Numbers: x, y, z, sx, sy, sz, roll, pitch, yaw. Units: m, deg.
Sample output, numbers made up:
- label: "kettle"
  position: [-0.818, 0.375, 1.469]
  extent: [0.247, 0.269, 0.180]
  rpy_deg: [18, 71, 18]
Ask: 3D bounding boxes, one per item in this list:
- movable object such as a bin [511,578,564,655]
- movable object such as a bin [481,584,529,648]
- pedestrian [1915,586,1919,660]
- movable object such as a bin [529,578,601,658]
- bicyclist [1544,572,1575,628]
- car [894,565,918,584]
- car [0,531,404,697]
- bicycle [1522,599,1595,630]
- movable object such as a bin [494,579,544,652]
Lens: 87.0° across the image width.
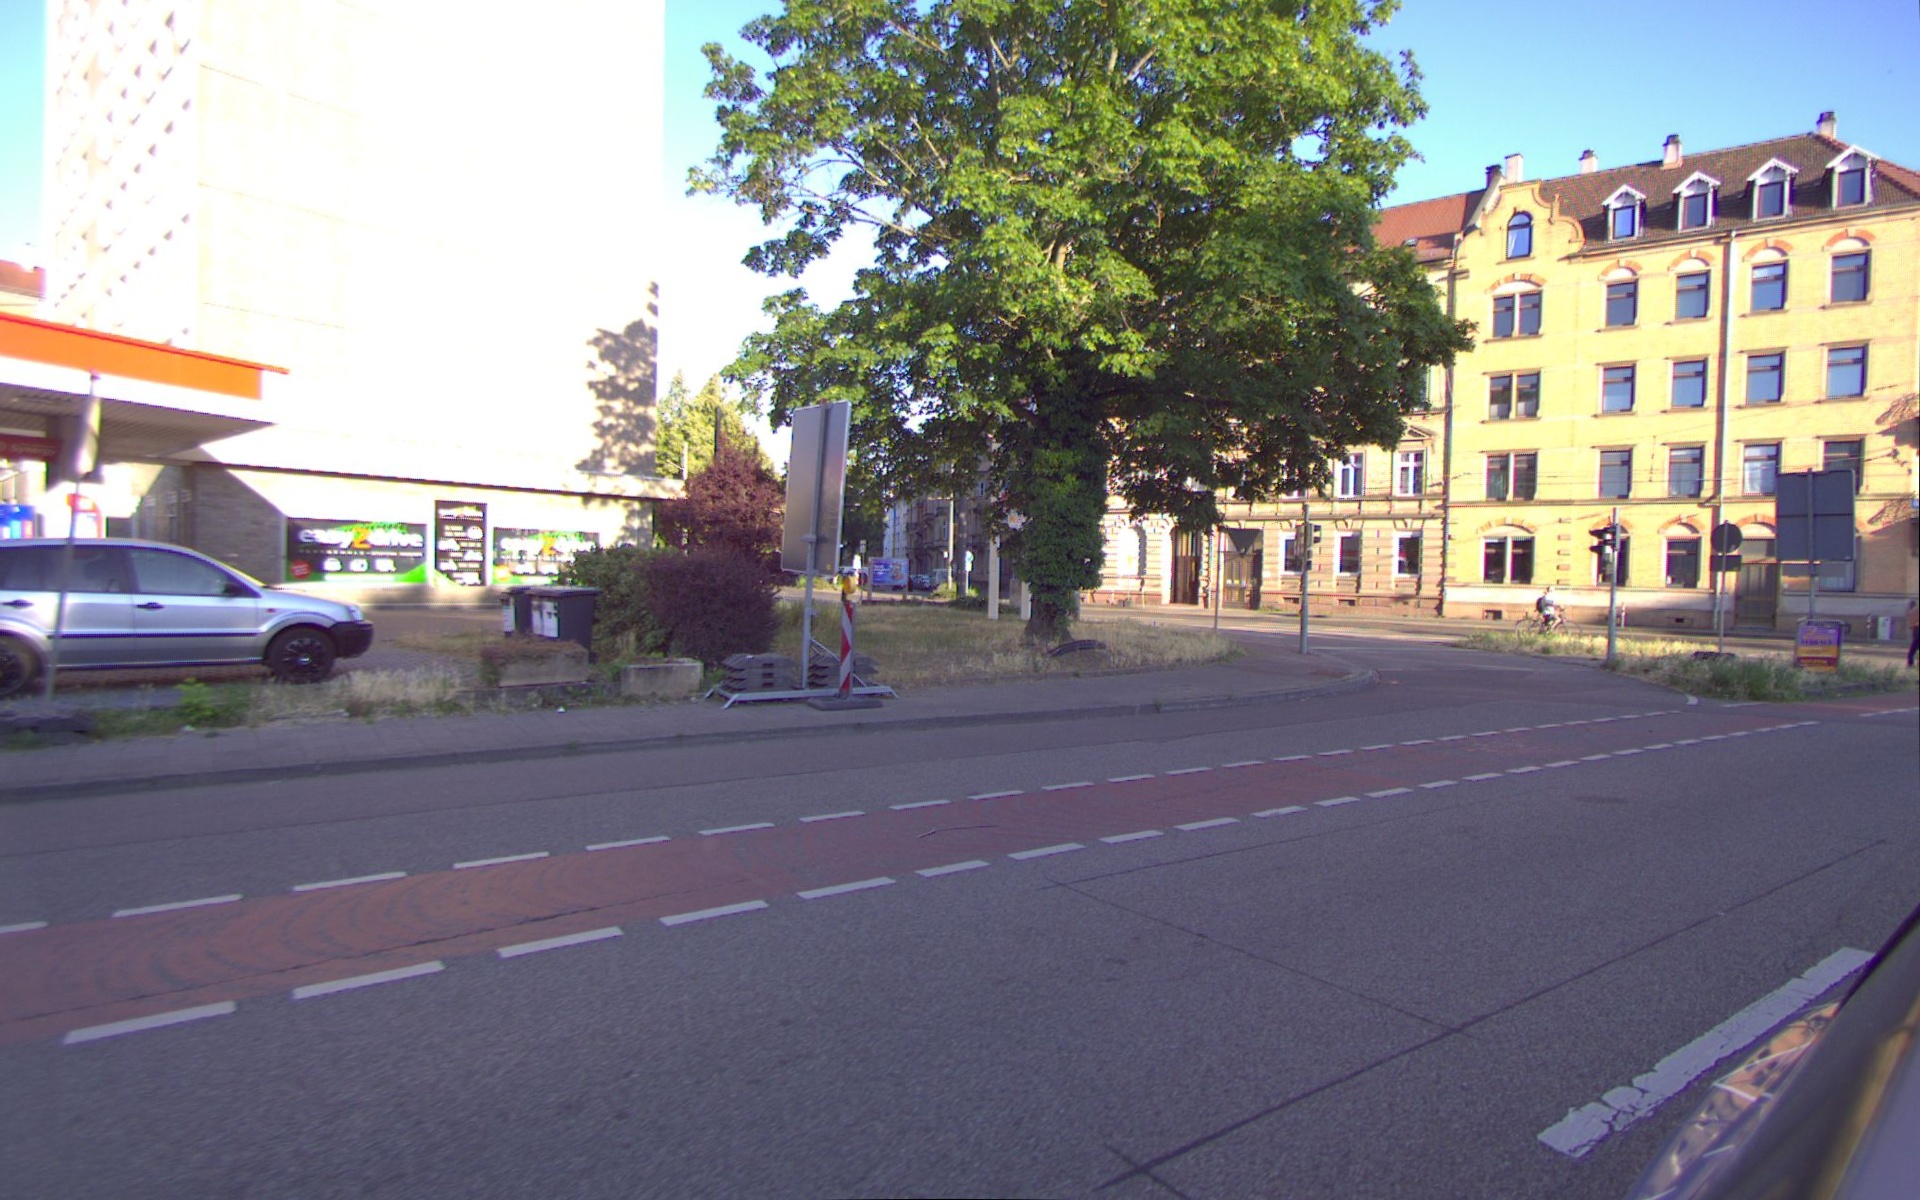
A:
- label: "movable object such as a bin"
  position: [-5.788, 0.215, 13.861]
  extent: [0.540, 1.018, 0.541]
  rpy_deg: [0, 0, -38]
- label: "movable object such as a bin"
  position: [-6.688, 0.228, 14.879]
  extent: [0.540, 0.917, 0.541]
  rpy_deg: [0, 0, -38]
- label: "pedestrian"
  position: [22.060, 0.527, 22.857]
  extent: [0.686, 1.649, 0.554]
  rpy_deg: [0, 1, -35]
- label: "movable object such as a bin"
  position: [-5.199, 0.222, 13.322]
  extent: [0.706, 1.018, 0.654]
  rpy_deg: [0, 0, -42]
- label: "bicyclist"
  position: [17.706, -0.009, 29.905]
  extent: [0.692, 1.603, 0.629]
  rpy_deg: [2, 2, 37]
- label: "car"
  position: [-4.828, -2.322, 91.350]
  extent: [1.790, 1.638, 3.999]
  rpy_deg: [1, 2, 2]
- label: "car"
  position: [-8.556, 0.095, 10.874]
  extent: [4.275, 1.549, 1.775]
  rpy_deg: [0, 2, -40]
- label: "bicycle"
  position: [17.691, 0.415, 29.927]
  extent: [1.805, 0.839, 0.614]
  rpy_deg: [2, 2, 38]
- label: "movable object such as a bin"
  position: [-6.262, 0.209, 14.364]
  extent: [0.540, 1.018, 0.541]
  rpy_deg: [0, 0, -38]
